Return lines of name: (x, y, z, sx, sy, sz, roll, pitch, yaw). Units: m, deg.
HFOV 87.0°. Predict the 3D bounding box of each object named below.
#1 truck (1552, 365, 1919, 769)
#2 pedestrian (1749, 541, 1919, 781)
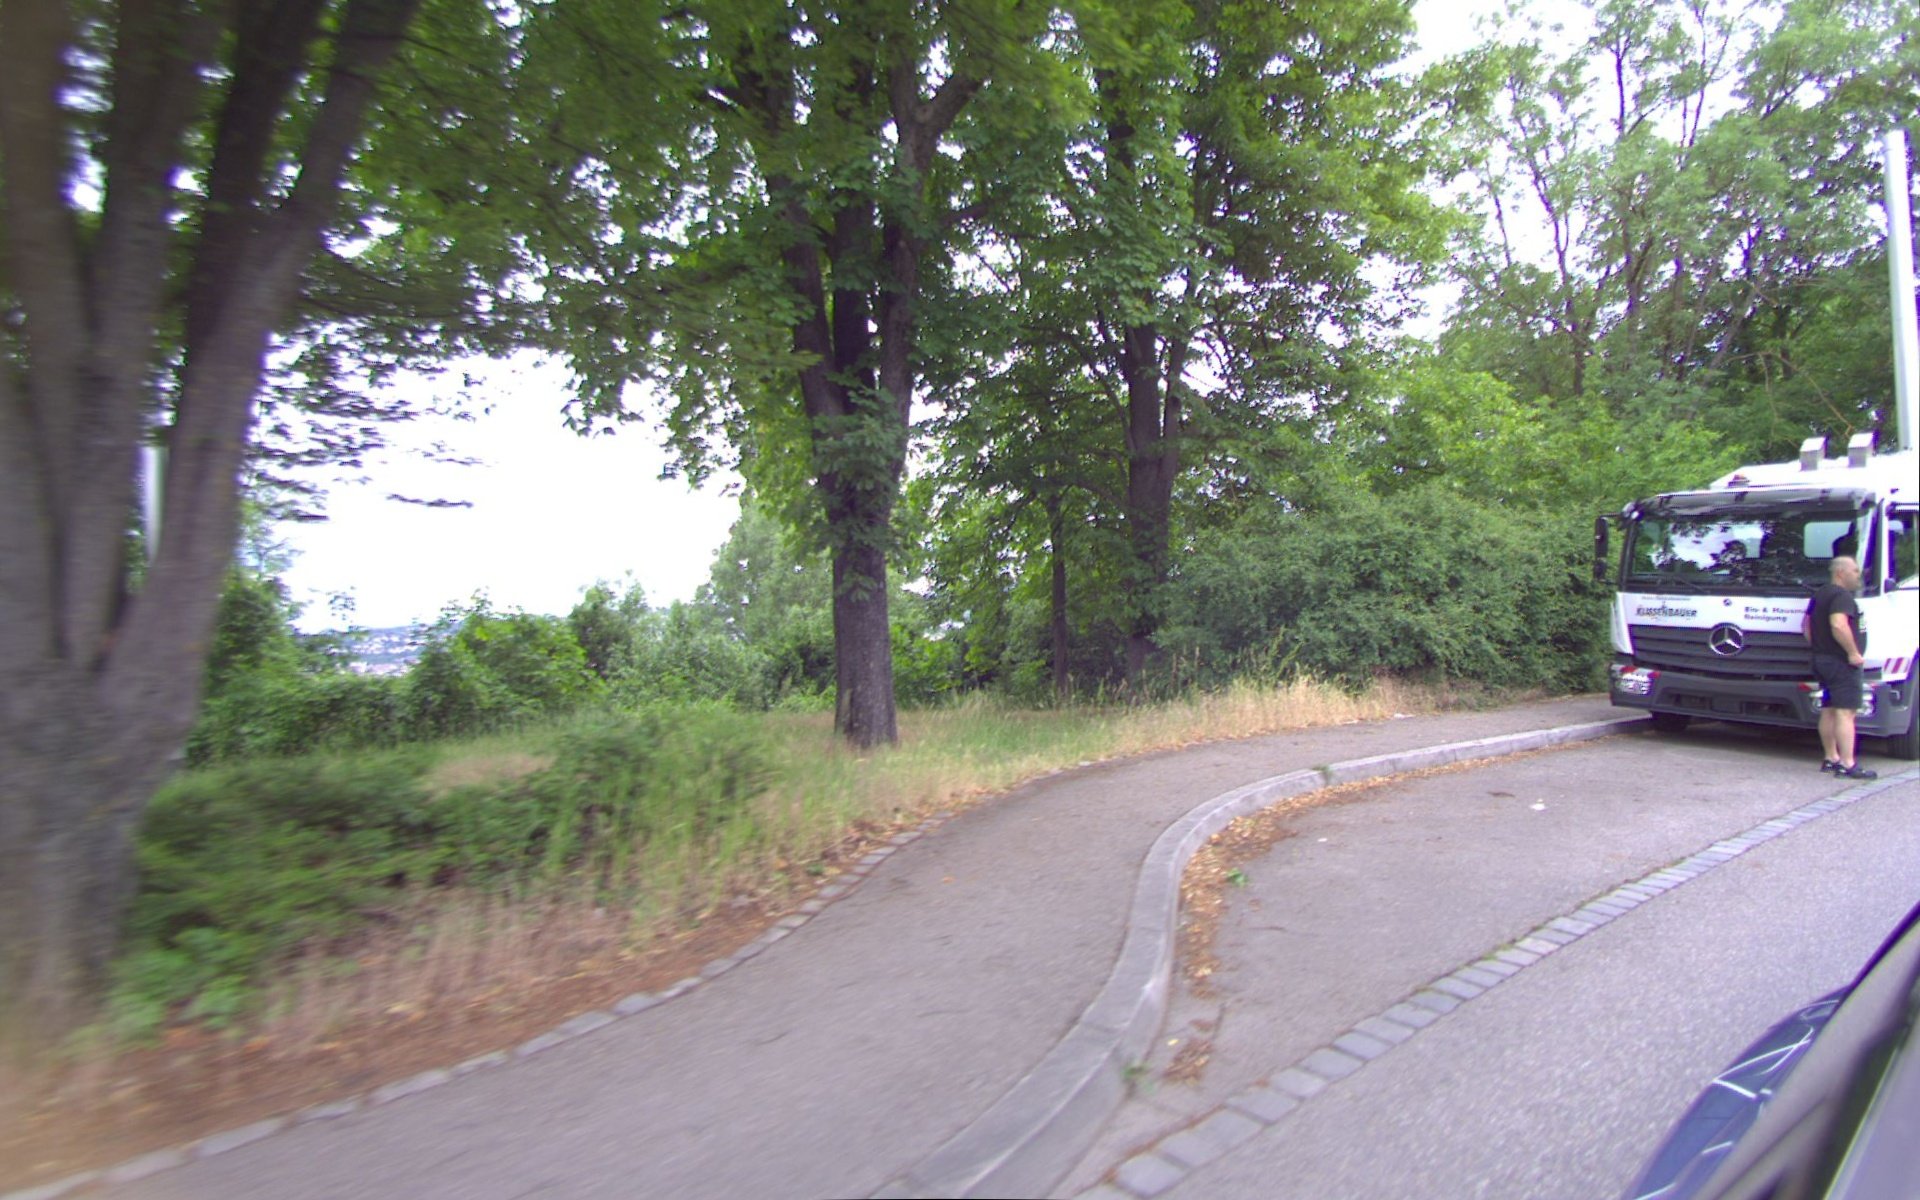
truck: (9.634, -0.319, 11.002, 7.086, 3.221, 2.492, -1, 1, -32)
pedestrian: (7.414, 0.458, 8.450, 0.964, 1.856, 0.921, 1, 1, -27)
